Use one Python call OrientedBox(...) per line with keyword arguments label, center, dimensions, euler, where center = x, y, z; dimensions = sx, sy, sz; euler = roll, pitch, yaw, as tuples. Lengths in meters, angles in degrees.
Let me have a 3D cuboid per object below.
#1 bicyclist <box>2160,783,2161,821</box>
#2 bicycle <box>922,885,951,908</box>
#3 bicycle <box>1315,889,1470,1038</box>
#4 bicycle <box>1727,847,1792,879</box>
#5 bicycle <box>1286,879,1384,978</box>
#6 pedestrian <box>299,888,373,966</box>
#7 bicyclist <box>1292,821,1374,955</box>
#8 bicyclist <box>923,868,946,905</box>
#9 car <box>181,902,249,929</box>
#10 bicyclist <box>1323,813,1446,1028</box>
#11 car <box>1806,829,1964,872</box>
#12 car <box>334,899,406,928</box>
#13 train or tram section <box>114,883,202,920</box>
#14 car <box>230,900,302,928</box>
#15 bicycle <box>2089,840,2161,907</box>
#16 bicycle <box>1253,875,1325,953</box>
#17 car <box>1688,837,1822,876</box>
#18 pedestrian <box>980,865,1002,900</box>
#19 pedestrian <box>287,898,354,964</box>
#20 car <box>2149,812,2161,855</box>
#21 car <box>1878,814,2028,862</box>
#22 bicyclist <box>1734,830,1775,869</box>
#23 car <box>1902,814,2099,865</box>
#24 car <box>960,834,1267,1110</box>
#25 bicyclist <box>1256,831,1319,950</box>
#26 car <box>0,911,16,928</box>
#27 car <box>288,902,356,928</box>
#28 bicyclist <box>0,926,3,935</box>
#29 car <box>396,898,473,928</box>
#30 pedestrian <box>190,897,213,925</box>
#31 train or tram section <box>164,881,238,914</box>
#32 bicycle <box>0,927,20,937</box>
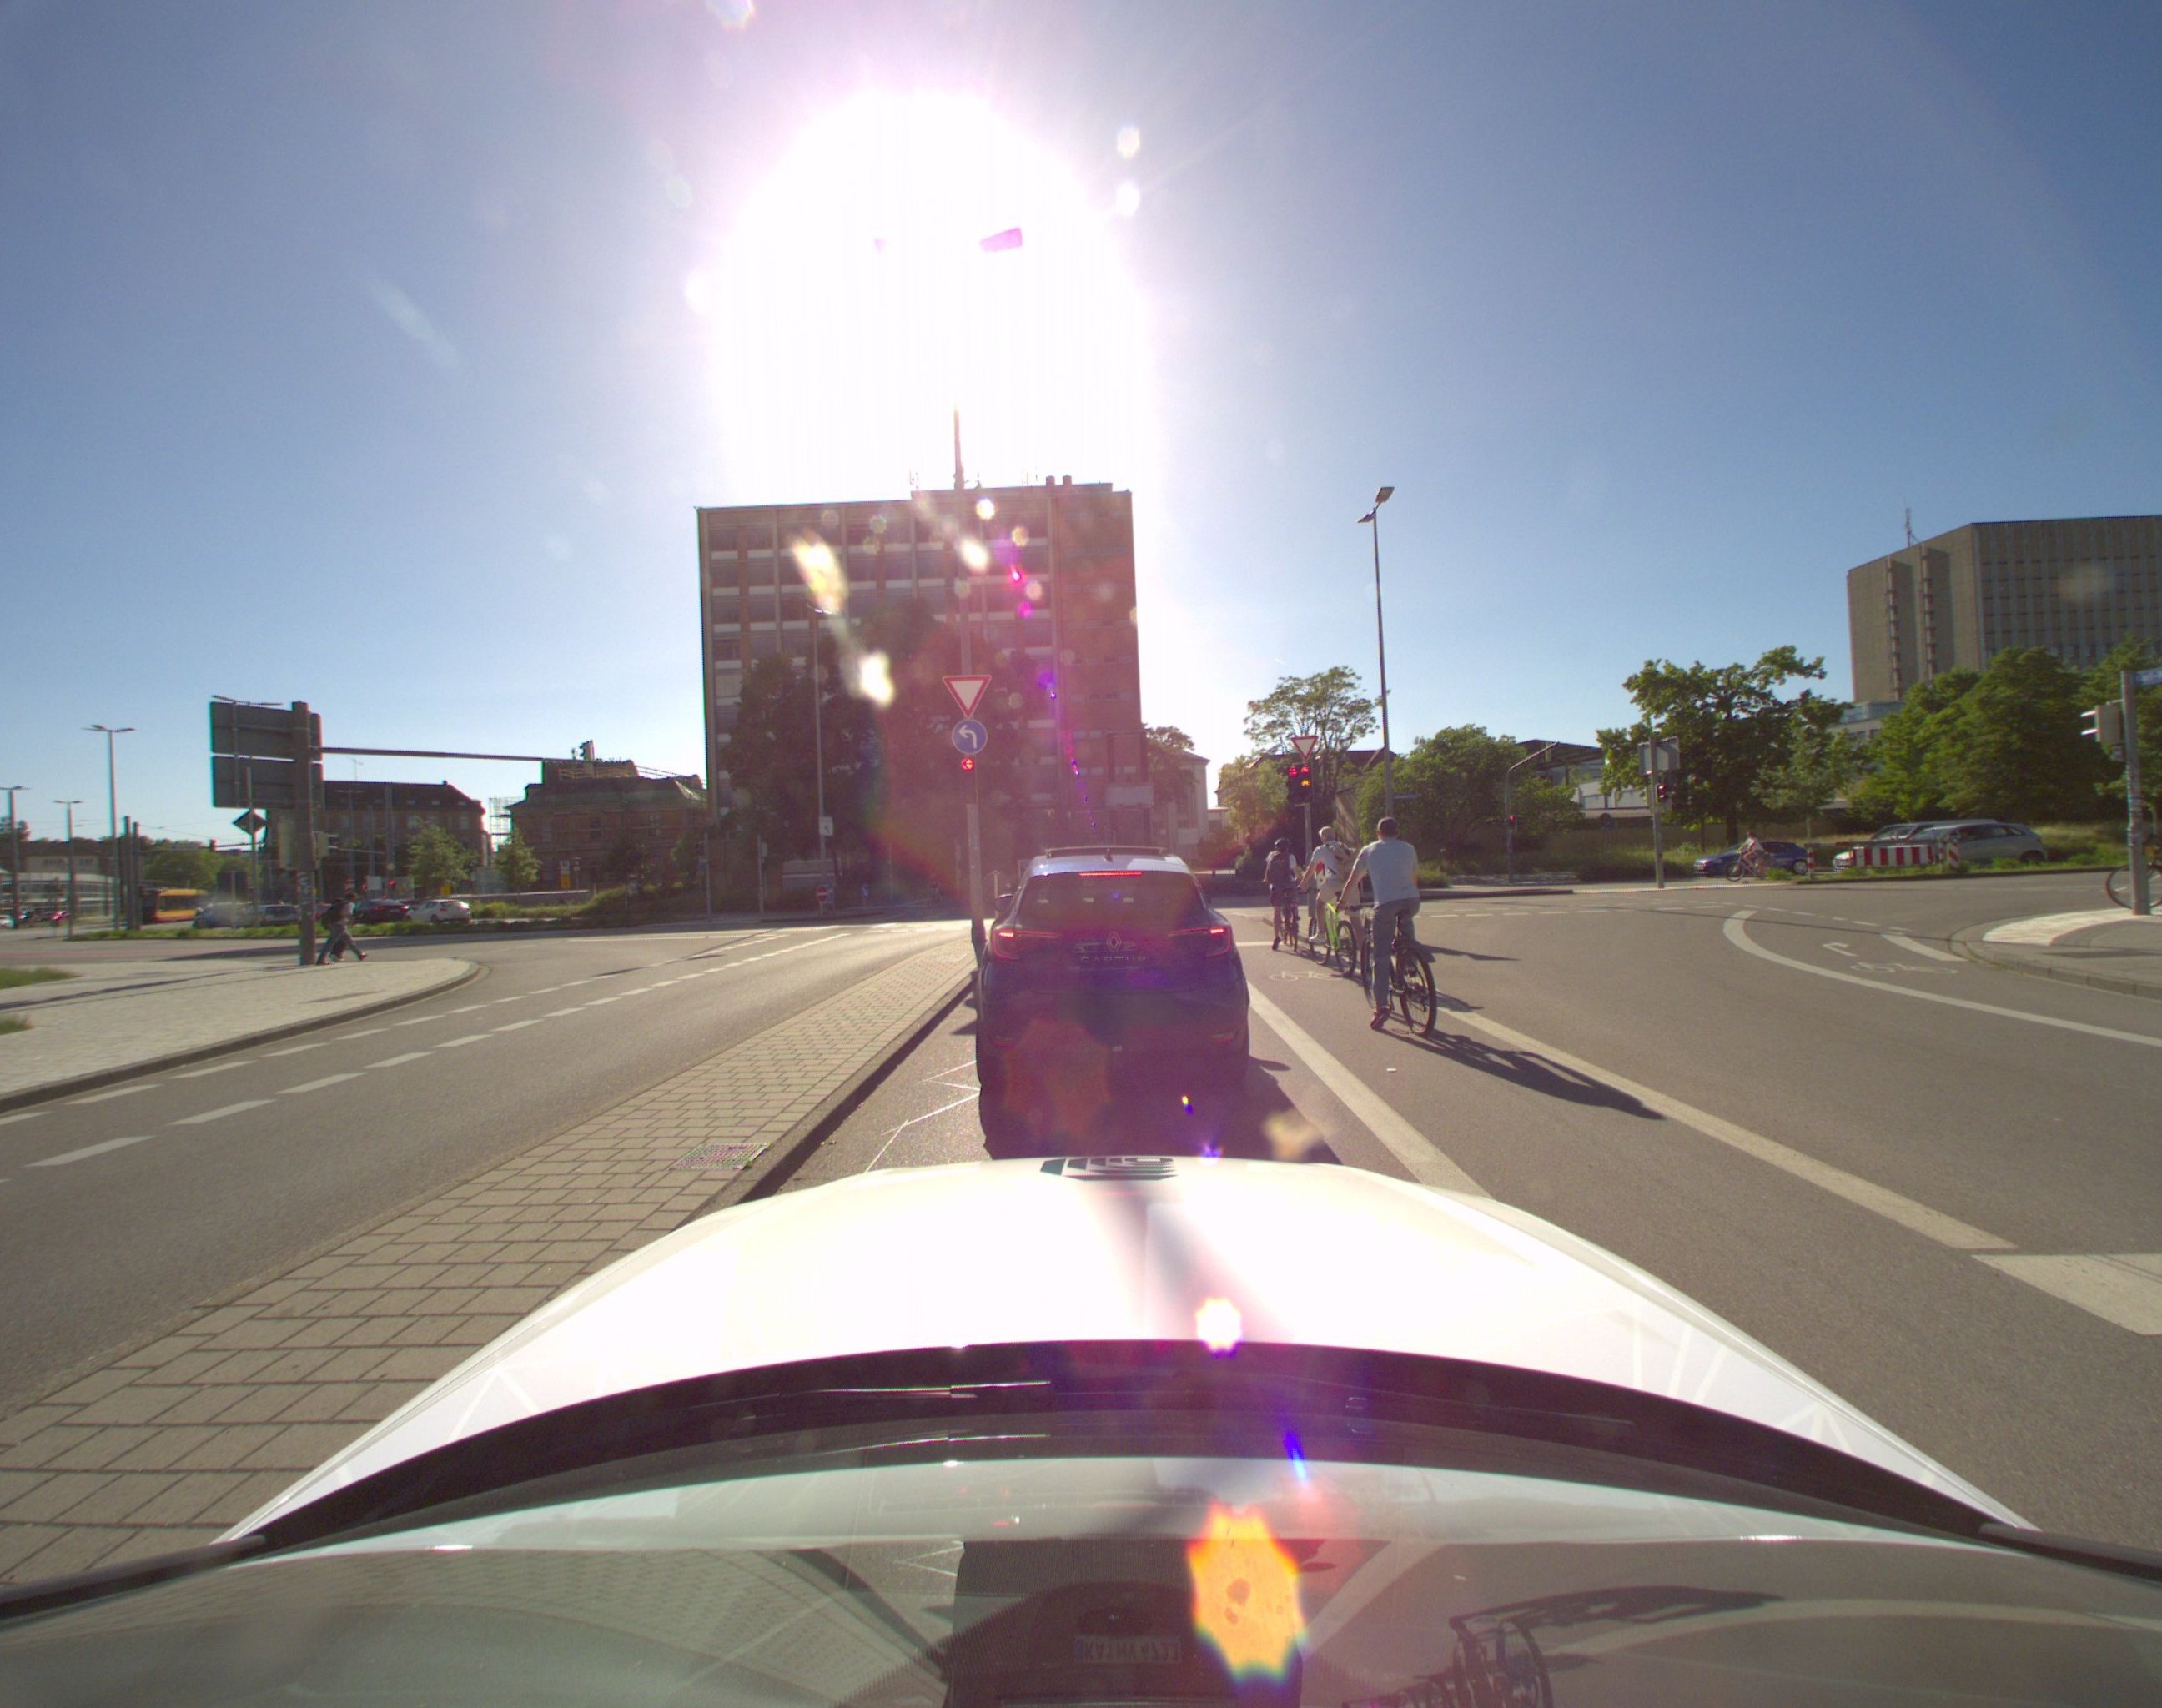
OrientedBox(label="bicyclist", center=(16.026, -0.225, 11.478), dimensions=(0.635, 1.646, 0.903), euler=(-2, -1, -39))
OrientedBox(label="bicycle", center=(-7.145, 2.099, 40.305), dimensions=(0.751, 0.985, 2.098), euler=(-2, 0, 8))
OrientedBox(label="bicycle", center=(2.722, 0.901, 7.357), dimensions=(0.687, 1.089, 1.923), euler=(-1, 0, 2))
OrientedBox(label="bicycle", center=(24.189, 0.320, 29.063), dimensions=(1.673, 1.033, 0.612), euler=(-2, -1, 7))
OrientedBox(label="bicycle", center=(3.189, 0.894, 10.403), dimensions=(0.687, 1.089, 1.923), euler=(-1, 0, 2))
OrientedBox(label="pedestrian", center=(-17.614, 1.714, 19.277), dimensions=(0.647, 1.730, 1.066), euler=(-3, -1, 15))
OrientedBox(label="bicyclist", center=(3.180, 0.412, 10.383), dimensions=(0.676, 1.594, 1.142), euler=(-1, -1, 1))
OrientedBox(label="bicyclist", center=(-7.195, 1.588, 40.055), dimensions=(0.751, 1.716, 1.001), euler=(-2, -1, 7))
OrientedBox(label="car", center=(-54.910, 3.893, 51.649), dimensions=(3.834, 1.508, 1.805), euler=(-3, -1, 25))
OrientedBox(label="bicyclist", center=(2.708, 0.560, 7.388), dimensions=(0.680, 1.791, 1.142), euler=(-1, -1, 2))
OrientedBox(label="car", center=(30.297, -0.136, 30.797), dimensions=(3.965, 1.398, 1.798), euler=(-3, -1, 7))
OrientedBox(label="car", center=(-42.548, 3.564, 48.751), dimensions=(3.834, 1.508, 1.805), euler=(-3, -1, 25))
OrientedBox(label="train or tram section", center=(-91.129, 4.578, 80.643), dimensions=(2.710, 3.232, 10.495), euler=(0, -1, -31))
OrientedBox(label="car", center=(-48.861, 3.605, 48.816), dimensions=(3.834, 1.508, 1.805), euler=(-3, -1, 25))
OrientedBox(label="bicycle", center=(15.914, 0.269, 11.632), dimensions=(0.640, 0.958, 1.866), euler=(-2, -1, -39))
OrientedBox(label="bicycle", center=(3.263, 0.906, 12.965), dimensions=(0.687, 1.089, 1.923), euler=(-1, 0, 2))
OrientedBox(label="car", center=(28.136, 0.106, 34.111), dimensions=(3.965, 1.398, 1.798), euler=(-3, -1, 7))
OrientedBox(label="pedestrian", center=(-4.997, 1.582, 45.270), dimensions=(0.807, 1.862, 0.913), euler=(-3, -1, 15))
OrientedBox(label="pedestrian", center=(-18.975, 1.911, 20.342), dimensions=(0.647, 1.527, 0.984), euler=(-3, -1, 15))
OrientedBox(label="car", center=(36.902, -0.762, 25.334), dimensions=(4.534, 1.398, 1.798), euler=(-3, -1, 7))
OrientedBox(label="car", center=(35.872, -0.618, 33.611), dimensions=(3.965, 1.749, 1.798), euler=(-3, -1, 7))
OrientedBox(label="bicyclist", center=(24.039, -0.159, 29.077), dimensions=(0.870, 1.343, 0.612), euler=(-2, -1, 7))
OrientedBox(label="car", center=(29.221, -0.433, 26.006), dimensions=(3.965, 1.398, 1.798), euler=(-3, -1, 7))
OrientedBox(label="car", center=(0.197, 0.705, 6.773), dimensions=(1.783, 1.585, 3.913), euler=(-1, 0, 0))
OrientedBox(label="bicyclist", center=(3.260, 0.558, 12.959), dimensions=(0.697, 1.791, 1.142), euler=(-1, -1, 2))
OrientedBox(label="car", center=(-112.122, 6.805, 84.161), dimensions=(1.753, 1.651, 3.952), euler=(-2, -1, -42))
OrientedBox(label="car", center=(-48.204, 3.871, 51.720), dimensions=(3.834, 1.508, 1.805), euler=(-3, -1, 25))
OrientedBox(label="bicyclist", center=(-67.039, 4.739, 50.258), dimensions=(0.425, 0.549, 0.575), euler=(-3, -1, 42))
OrientedBox(label="car", center=(-36.392, 3.337, 45.845), dimensions=(3.834, 1.508, 1.805), euler=(-3, -1, 25))
OrientedBox(label="pedestrian", center=(-62.091, 4.035, 57.475), dimensions=(0.722, 1.865, 0.884), euler=(-3, -1, 27))
OrientedBox(label="train or tram section", center=(-96.594, 4.690, 89.571), dimensions=(2.710, 3.232, 10.495), euler=(0, -1, -31))
OrientedBox(label="bicycle", center=(-66.881, 4.880, 50.419), dimensions=(0.429, 0.549, 1.419), euler=(-3, -1, 42))
